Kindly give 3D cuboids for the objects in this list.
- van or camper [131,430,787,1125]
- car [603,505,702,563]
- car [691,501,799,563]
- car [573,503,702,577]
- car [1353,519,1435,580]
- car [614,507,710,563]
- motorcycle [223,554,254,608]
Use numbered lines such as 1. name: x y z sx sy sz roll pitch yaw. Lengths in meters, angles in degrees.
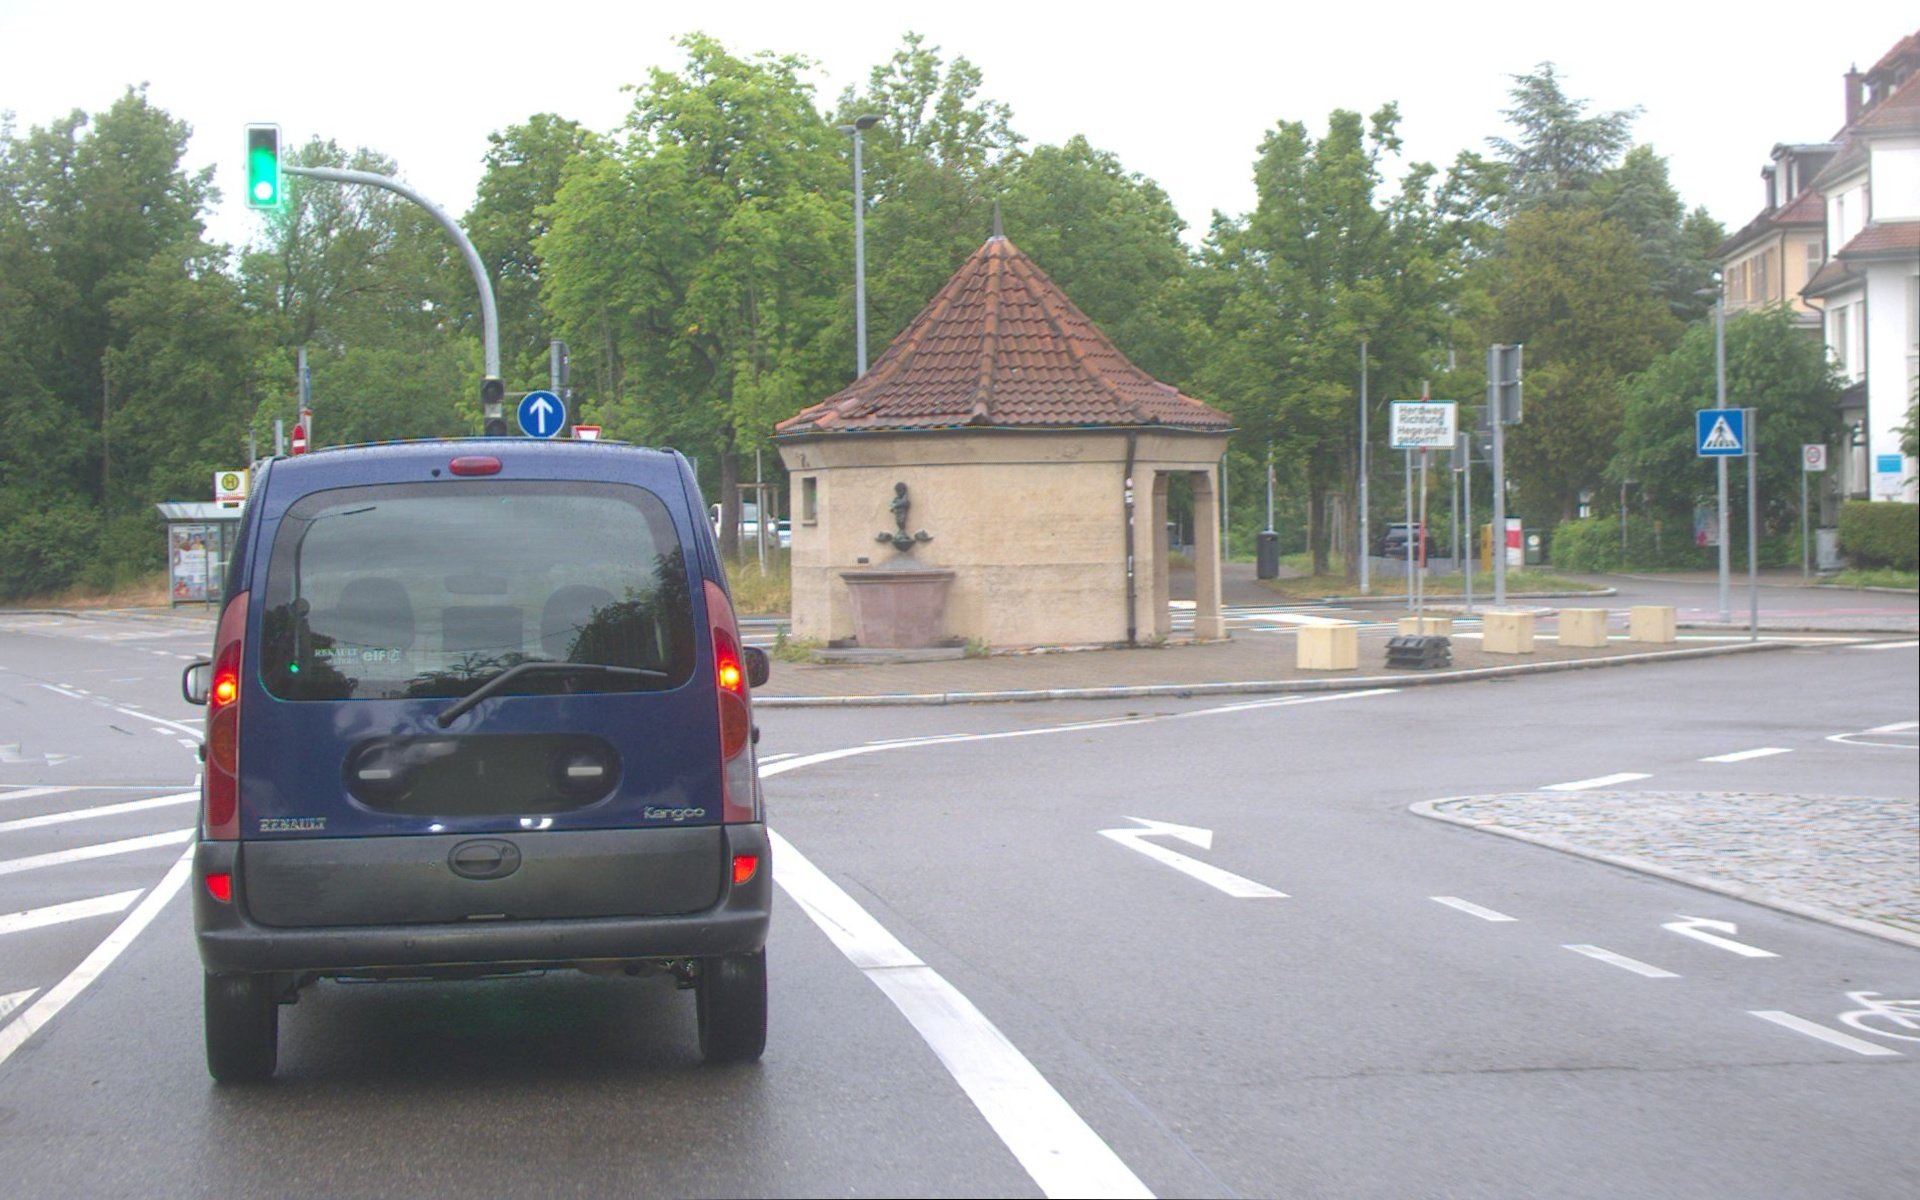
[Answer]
1. van or camper: -1.637 0.439 11.157 1.712 1.819 4.001 -1 1 -9
2. car: -9.207 -1.974 102.623 1.993 1.656 4.474 1 1 -17
3. car: -5.486 -1.700 87.420 1.885 1.475 4.070 0 0 -16
4. car: -7.603 -1.407 80.689 1.993 1.656 4.001 1 1 -21
5. car: 14.693 -1.694 116.522 1.993 2.007 4.001 -1 1 -4
6. car: -8.486 -1.833 97.643 1.885 1.475 4.070 -1 0 -17
7. motorcycle: -17.471 -0.467 83.294 0.589 1.284 1.538 -2 1 -8
